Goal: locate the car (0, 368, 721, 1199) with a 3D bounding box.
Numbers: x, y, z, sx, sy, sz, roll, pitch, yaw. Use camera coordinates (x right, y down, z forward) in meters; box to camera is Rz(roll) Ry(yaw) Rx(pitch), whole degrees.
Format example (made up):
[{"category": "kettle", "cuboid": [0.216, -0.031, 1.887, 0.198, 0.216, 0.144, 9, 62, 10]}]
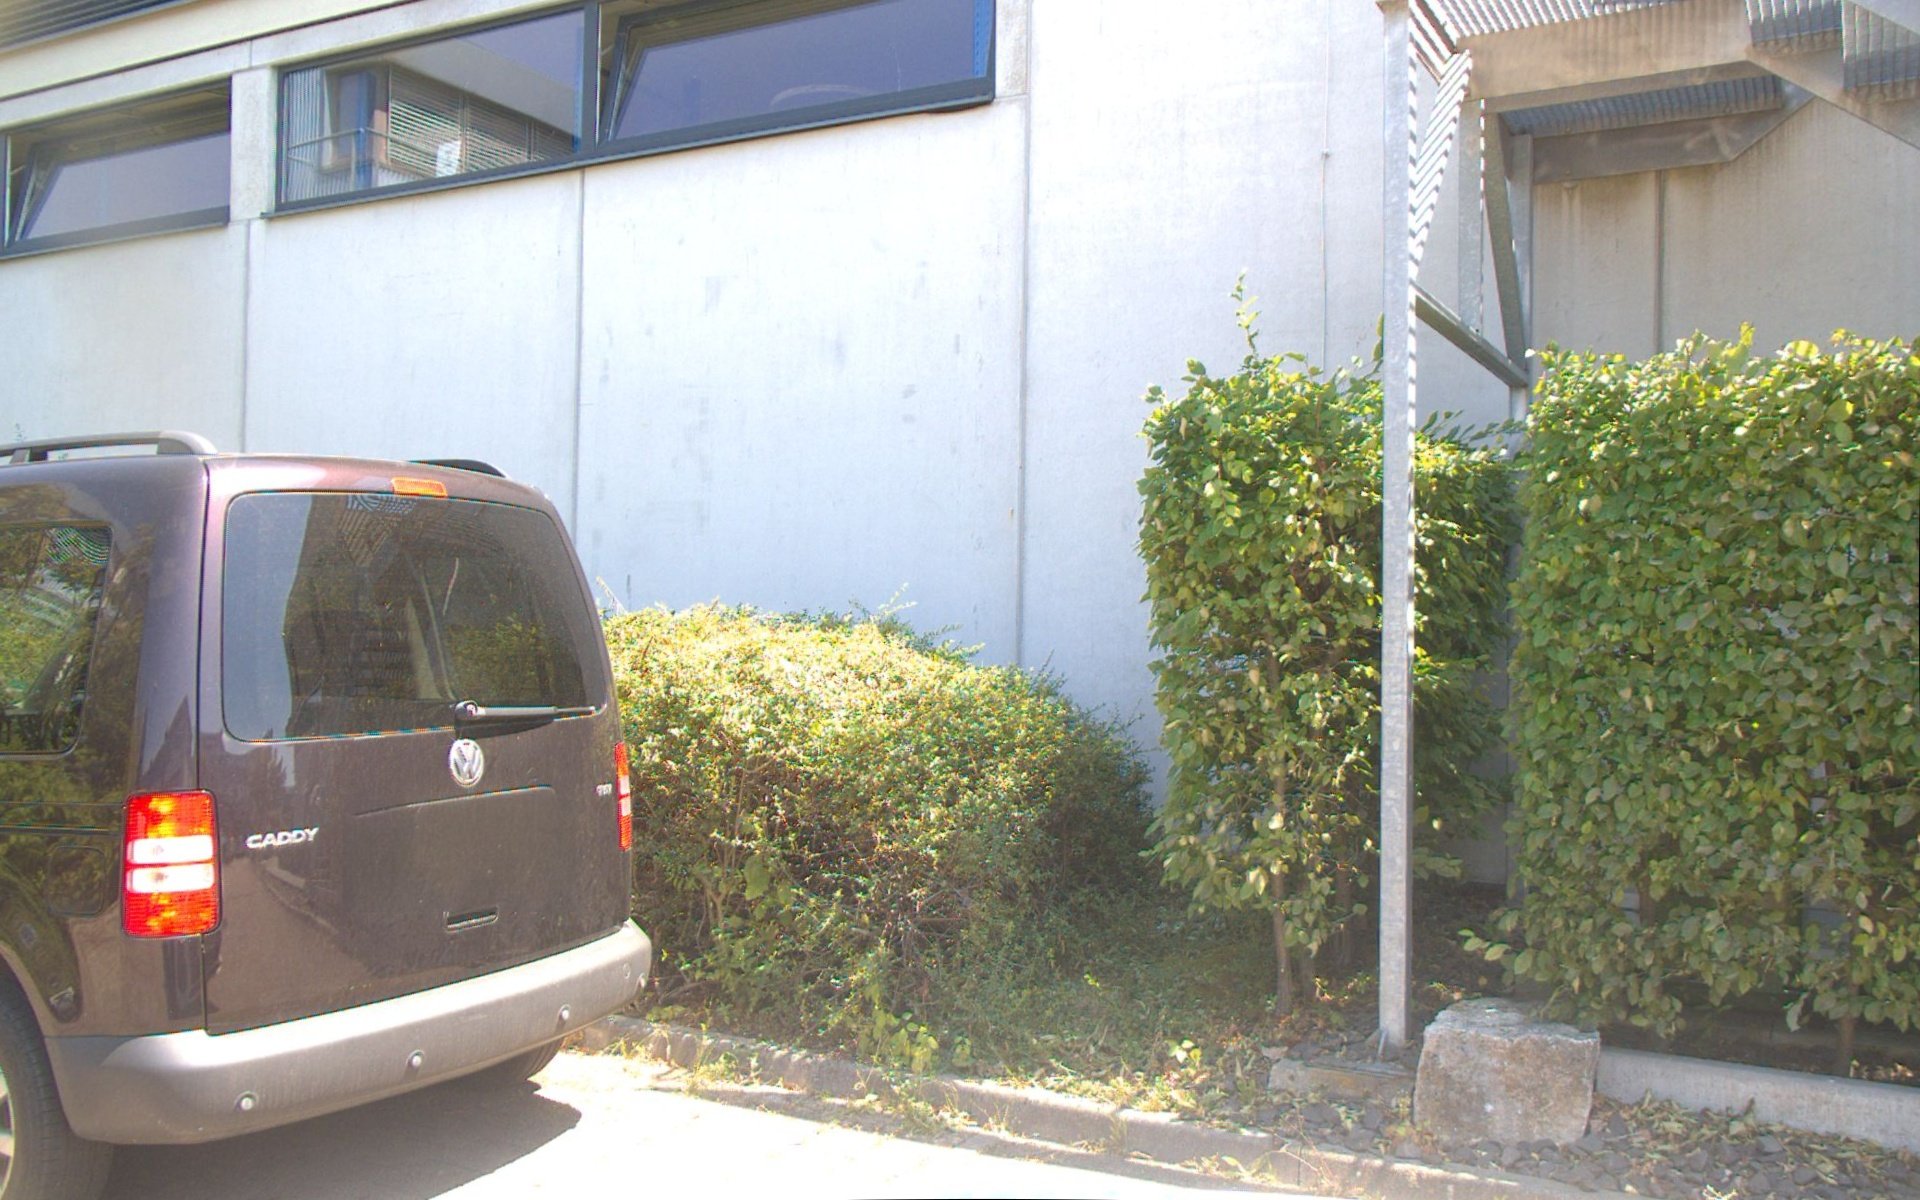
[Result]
[{"category": "car", "cuboid": [-2.820, 0.495, 4.990, 3.982, 1.917, 1.675, 0, 0, 30]}]
